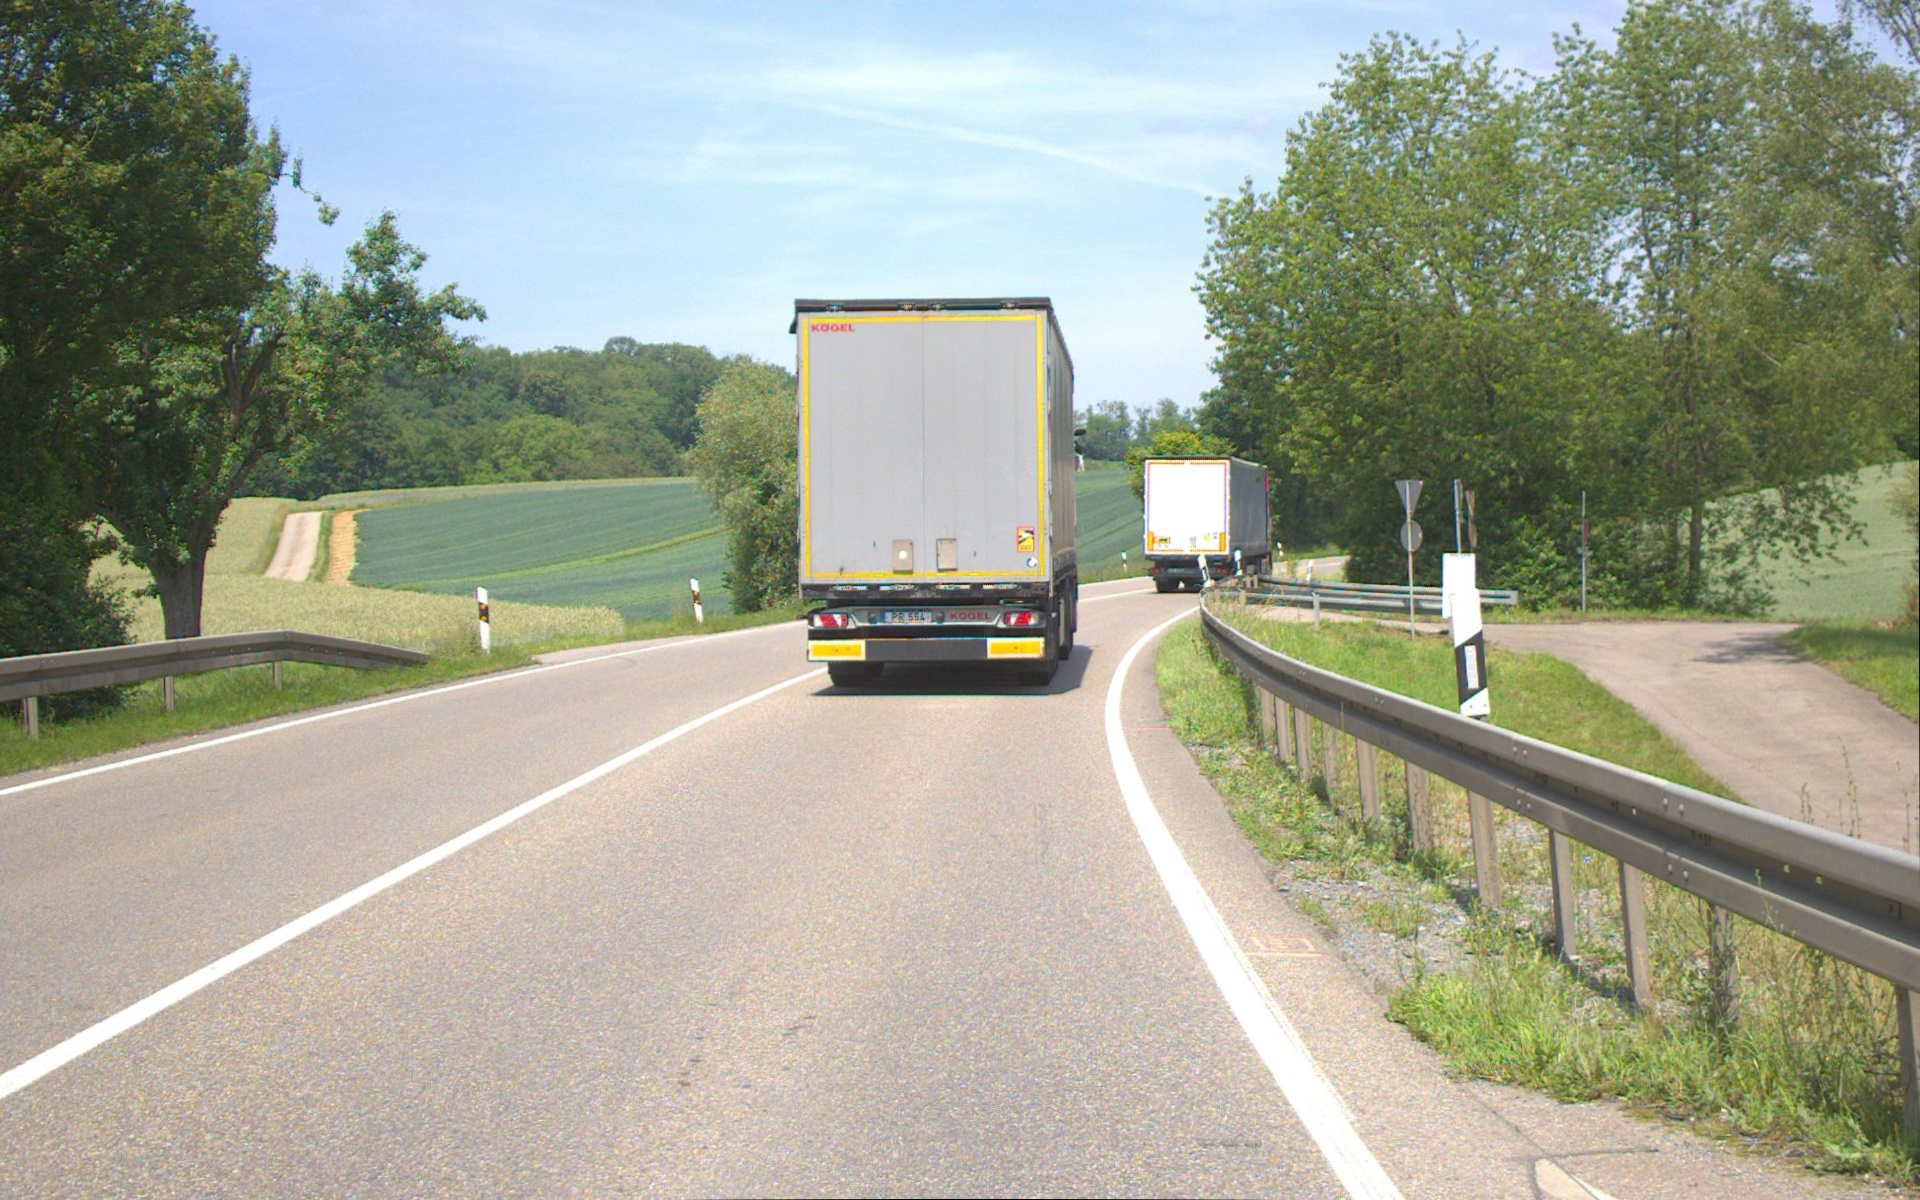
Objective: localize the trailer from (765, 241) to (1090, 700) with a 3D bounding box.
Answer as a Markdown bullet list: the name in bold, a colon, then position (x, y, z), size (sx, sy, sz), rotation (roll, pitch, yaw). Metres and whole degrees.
- **trailer**: position (-0.061, -1.405, 40.826), size (3.118, 4.484, 13.886), rotation (0, 1, 2)

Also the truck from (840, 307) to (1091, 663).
- **truck**: position (0.196, -1.516, 46.948), size (3.118, 4.479, 6.811), rotation (0, 1, 2)

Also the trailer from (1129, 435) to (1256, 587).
- **trailer**: position (7.387, -2.641, 107.462), size (3.366, 4.302, 13.860), rotation (-1, 0, 6)
